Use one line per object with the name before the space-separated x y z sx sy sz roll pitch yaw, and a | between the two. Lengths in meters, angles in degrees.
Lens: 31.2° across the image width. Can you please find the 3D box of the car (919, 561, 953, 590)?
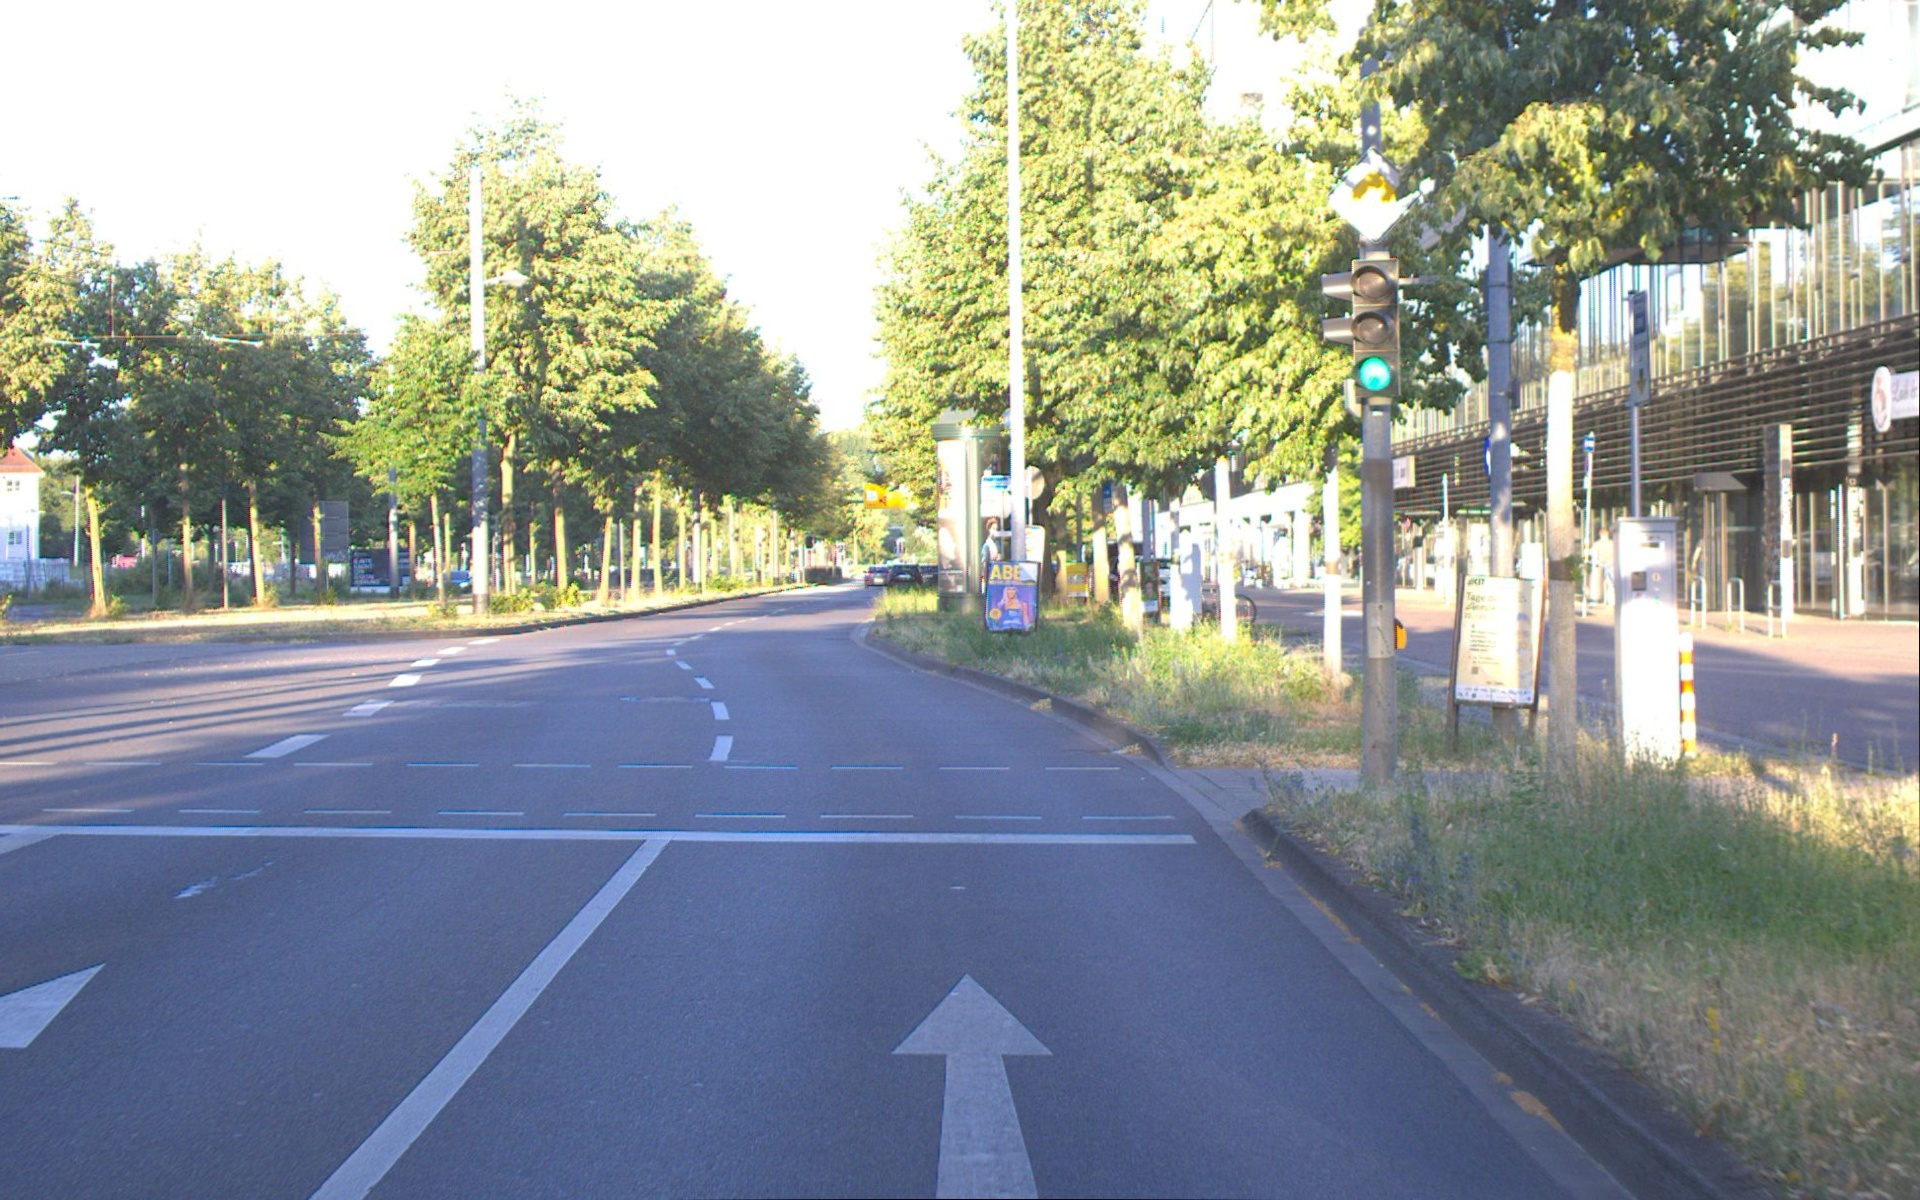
car | -1.365 -1.419 197.169 1.873 1.568 3.677 0 1 1

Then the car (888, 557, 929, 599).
car | -2.582 -1.100 170.542 1.993 2.007 4.001 -1 1 -1

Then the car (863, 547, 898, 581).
car | -4.874 -2.217 211.152 2.087 2.007 4.001 -1 1 -1
